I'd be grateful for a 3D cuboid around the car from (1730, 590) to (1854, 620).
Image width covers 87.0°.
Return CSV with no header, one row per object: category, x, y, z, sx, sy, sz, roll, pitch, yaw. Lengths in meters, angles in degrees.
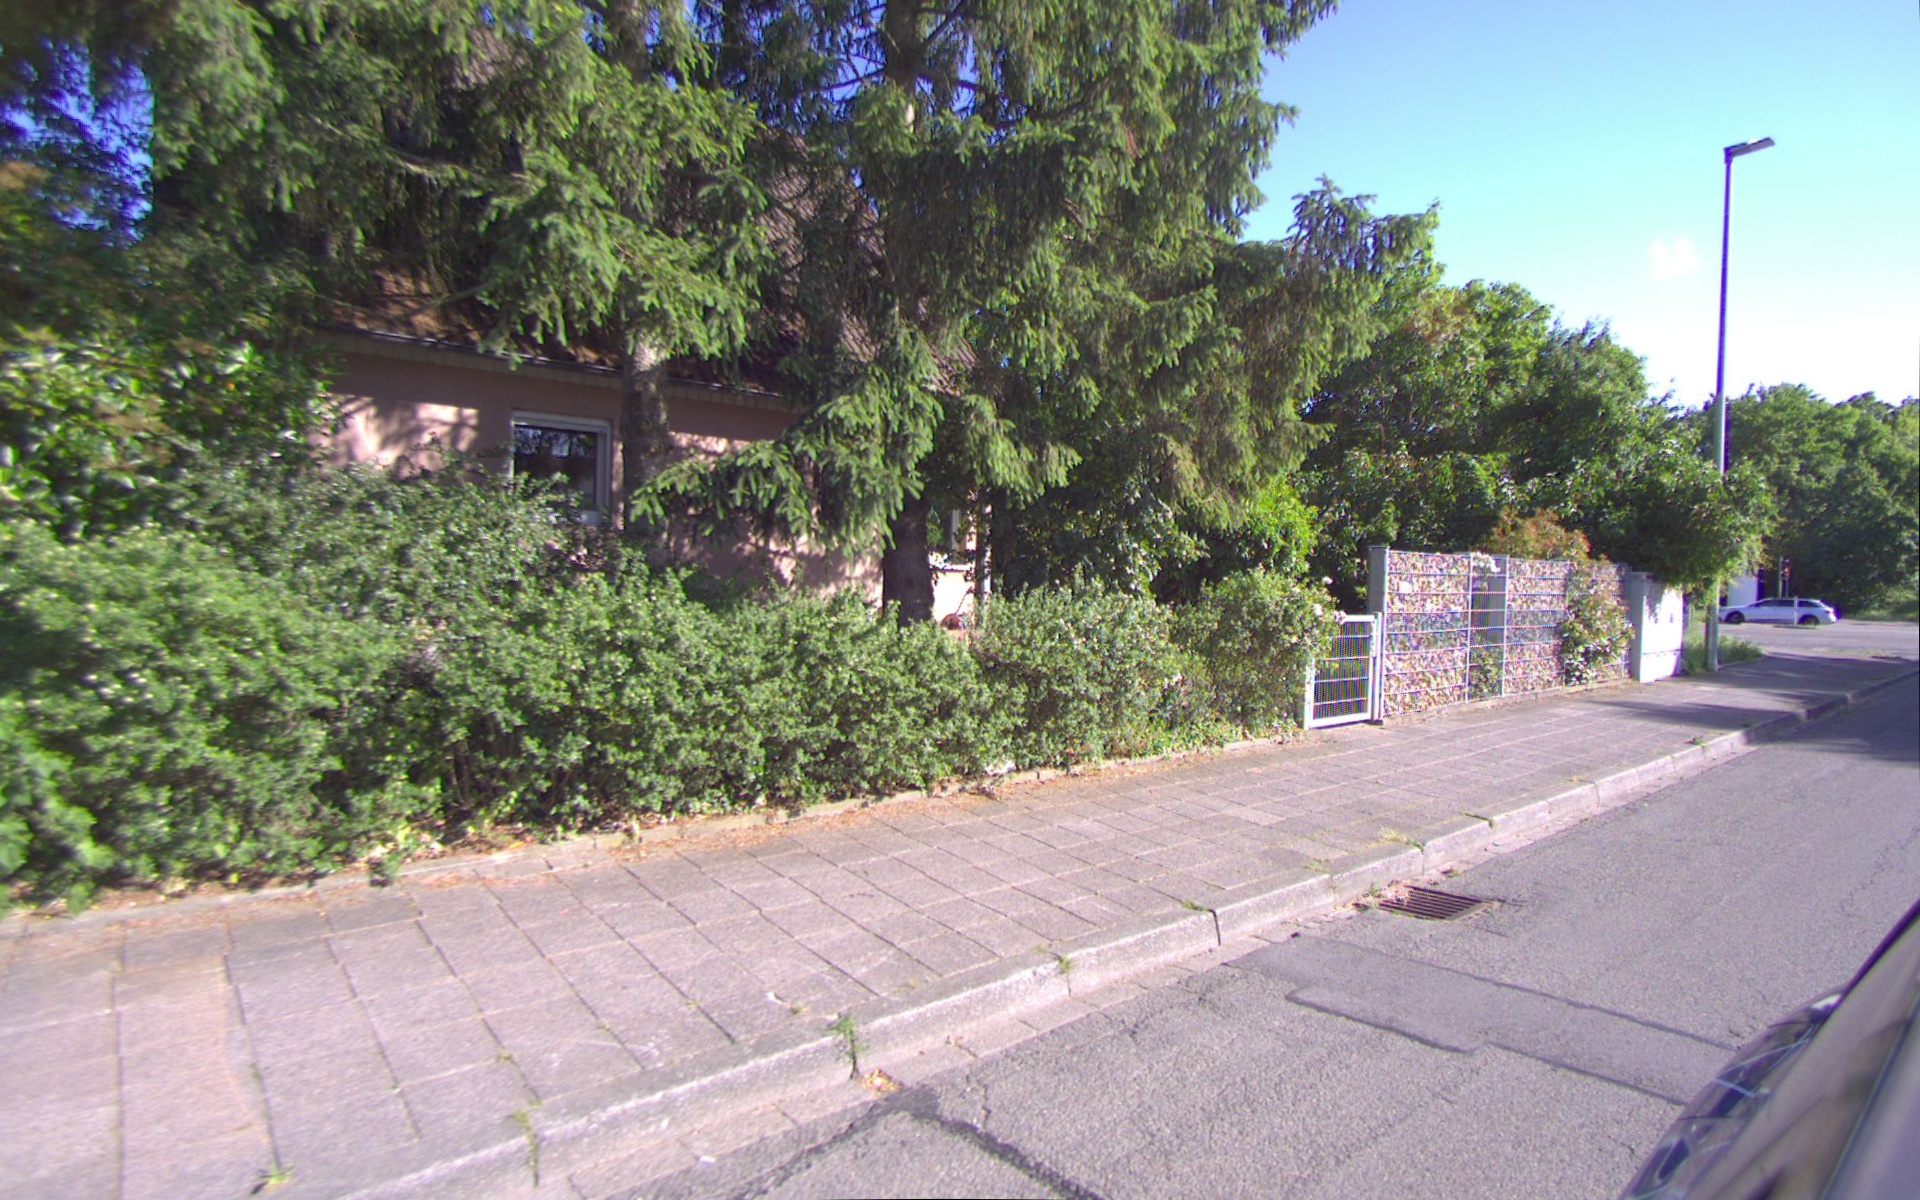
car,40.180,0.211,49.023,4.474,1.243,1.671,3,2,36
